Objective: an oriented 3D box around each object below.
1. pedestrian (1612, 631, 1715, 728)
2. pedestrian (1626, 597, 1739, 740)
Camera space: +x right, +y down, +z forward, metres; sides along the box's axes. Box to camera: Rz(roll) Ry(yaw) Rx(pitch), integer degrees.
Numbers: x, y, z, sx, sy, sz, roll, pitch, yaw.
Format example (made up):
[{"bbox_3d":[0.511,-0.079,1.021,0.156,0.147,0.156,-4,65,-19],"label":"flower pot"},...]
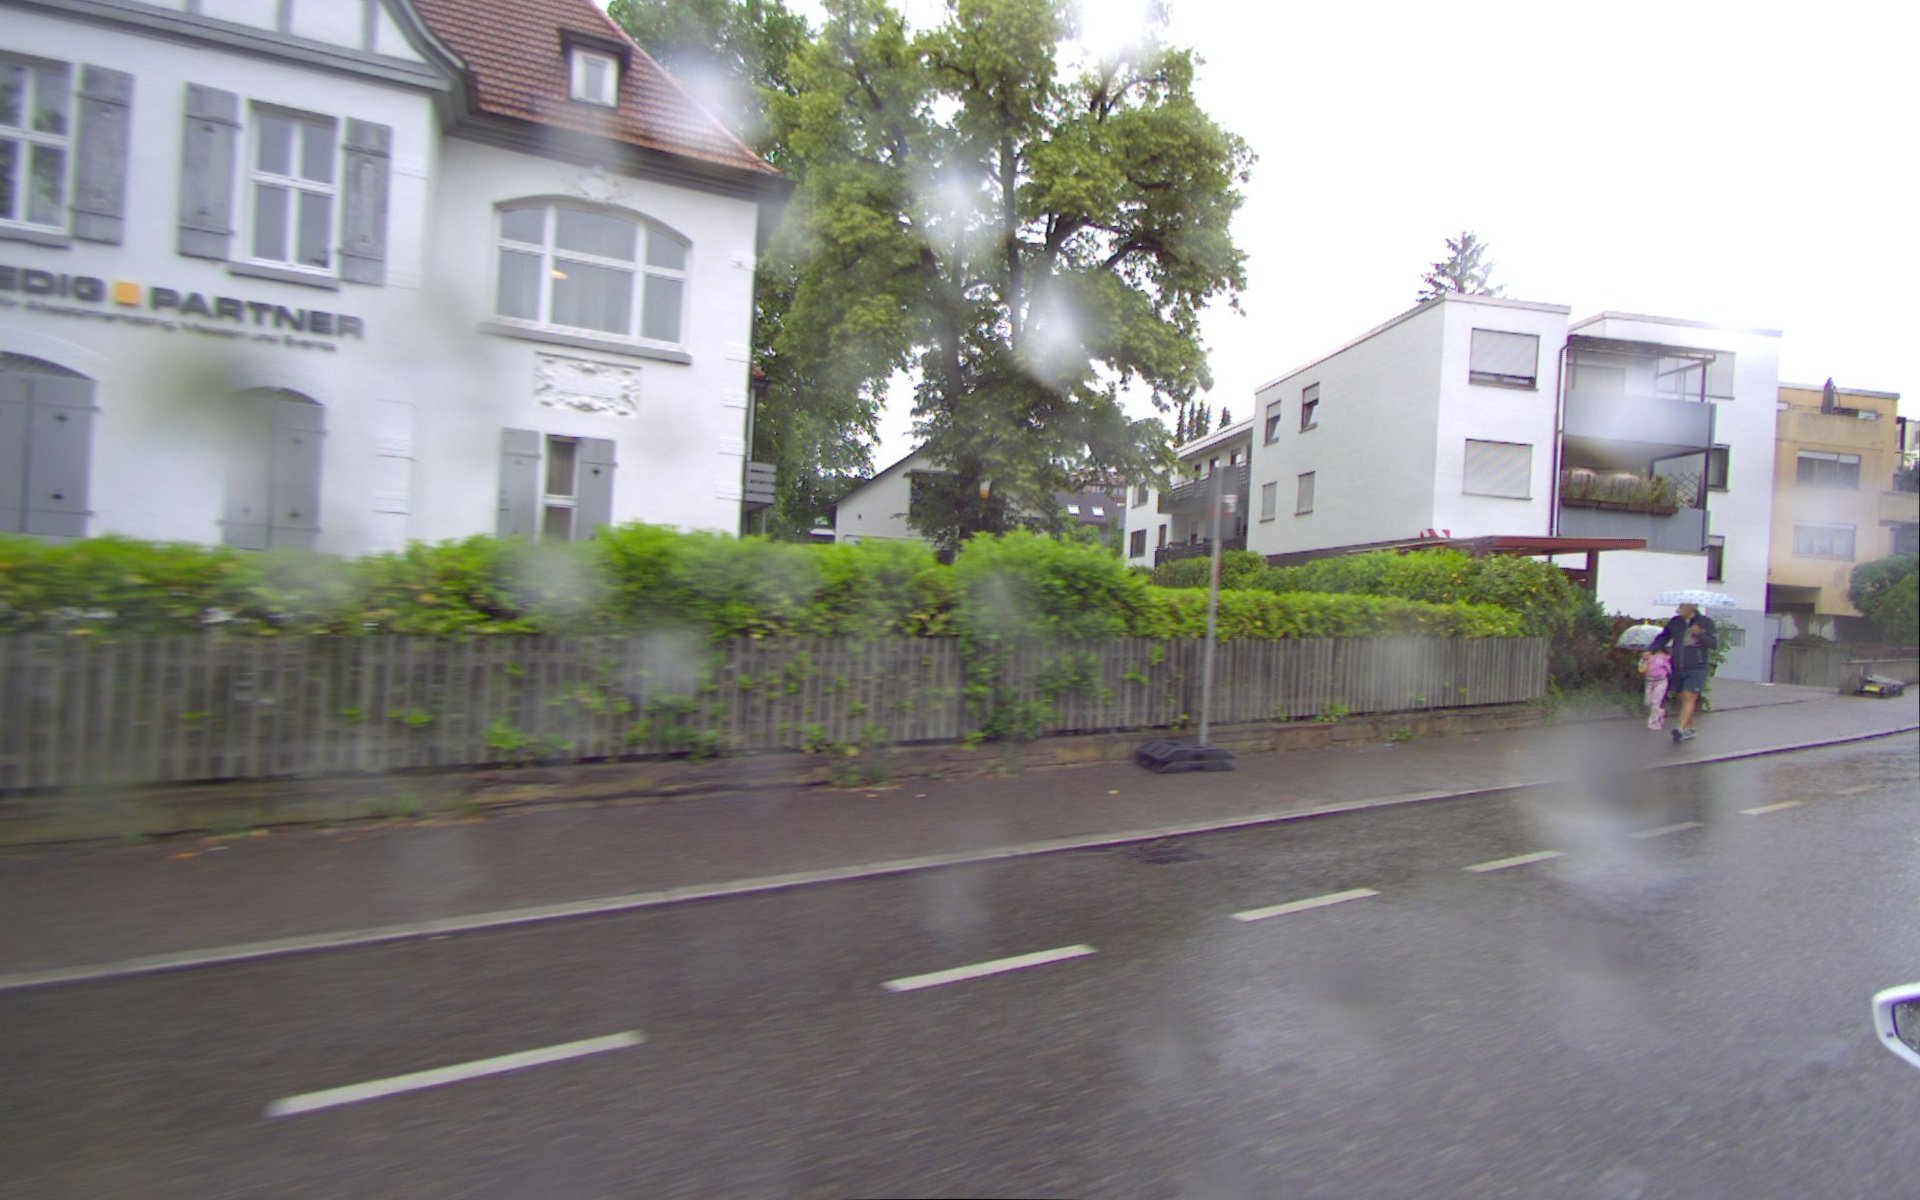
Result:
[{"bbox_3d":[9.316,1.023,13.309,1.028,1.195,0.752,1,1,-32],"label":"pedestrian"},{"bbox_3d":[8.890,0.811,12.363,1.028,1.666,0.752,1,1,-32],"label":"pedestrian"}]
